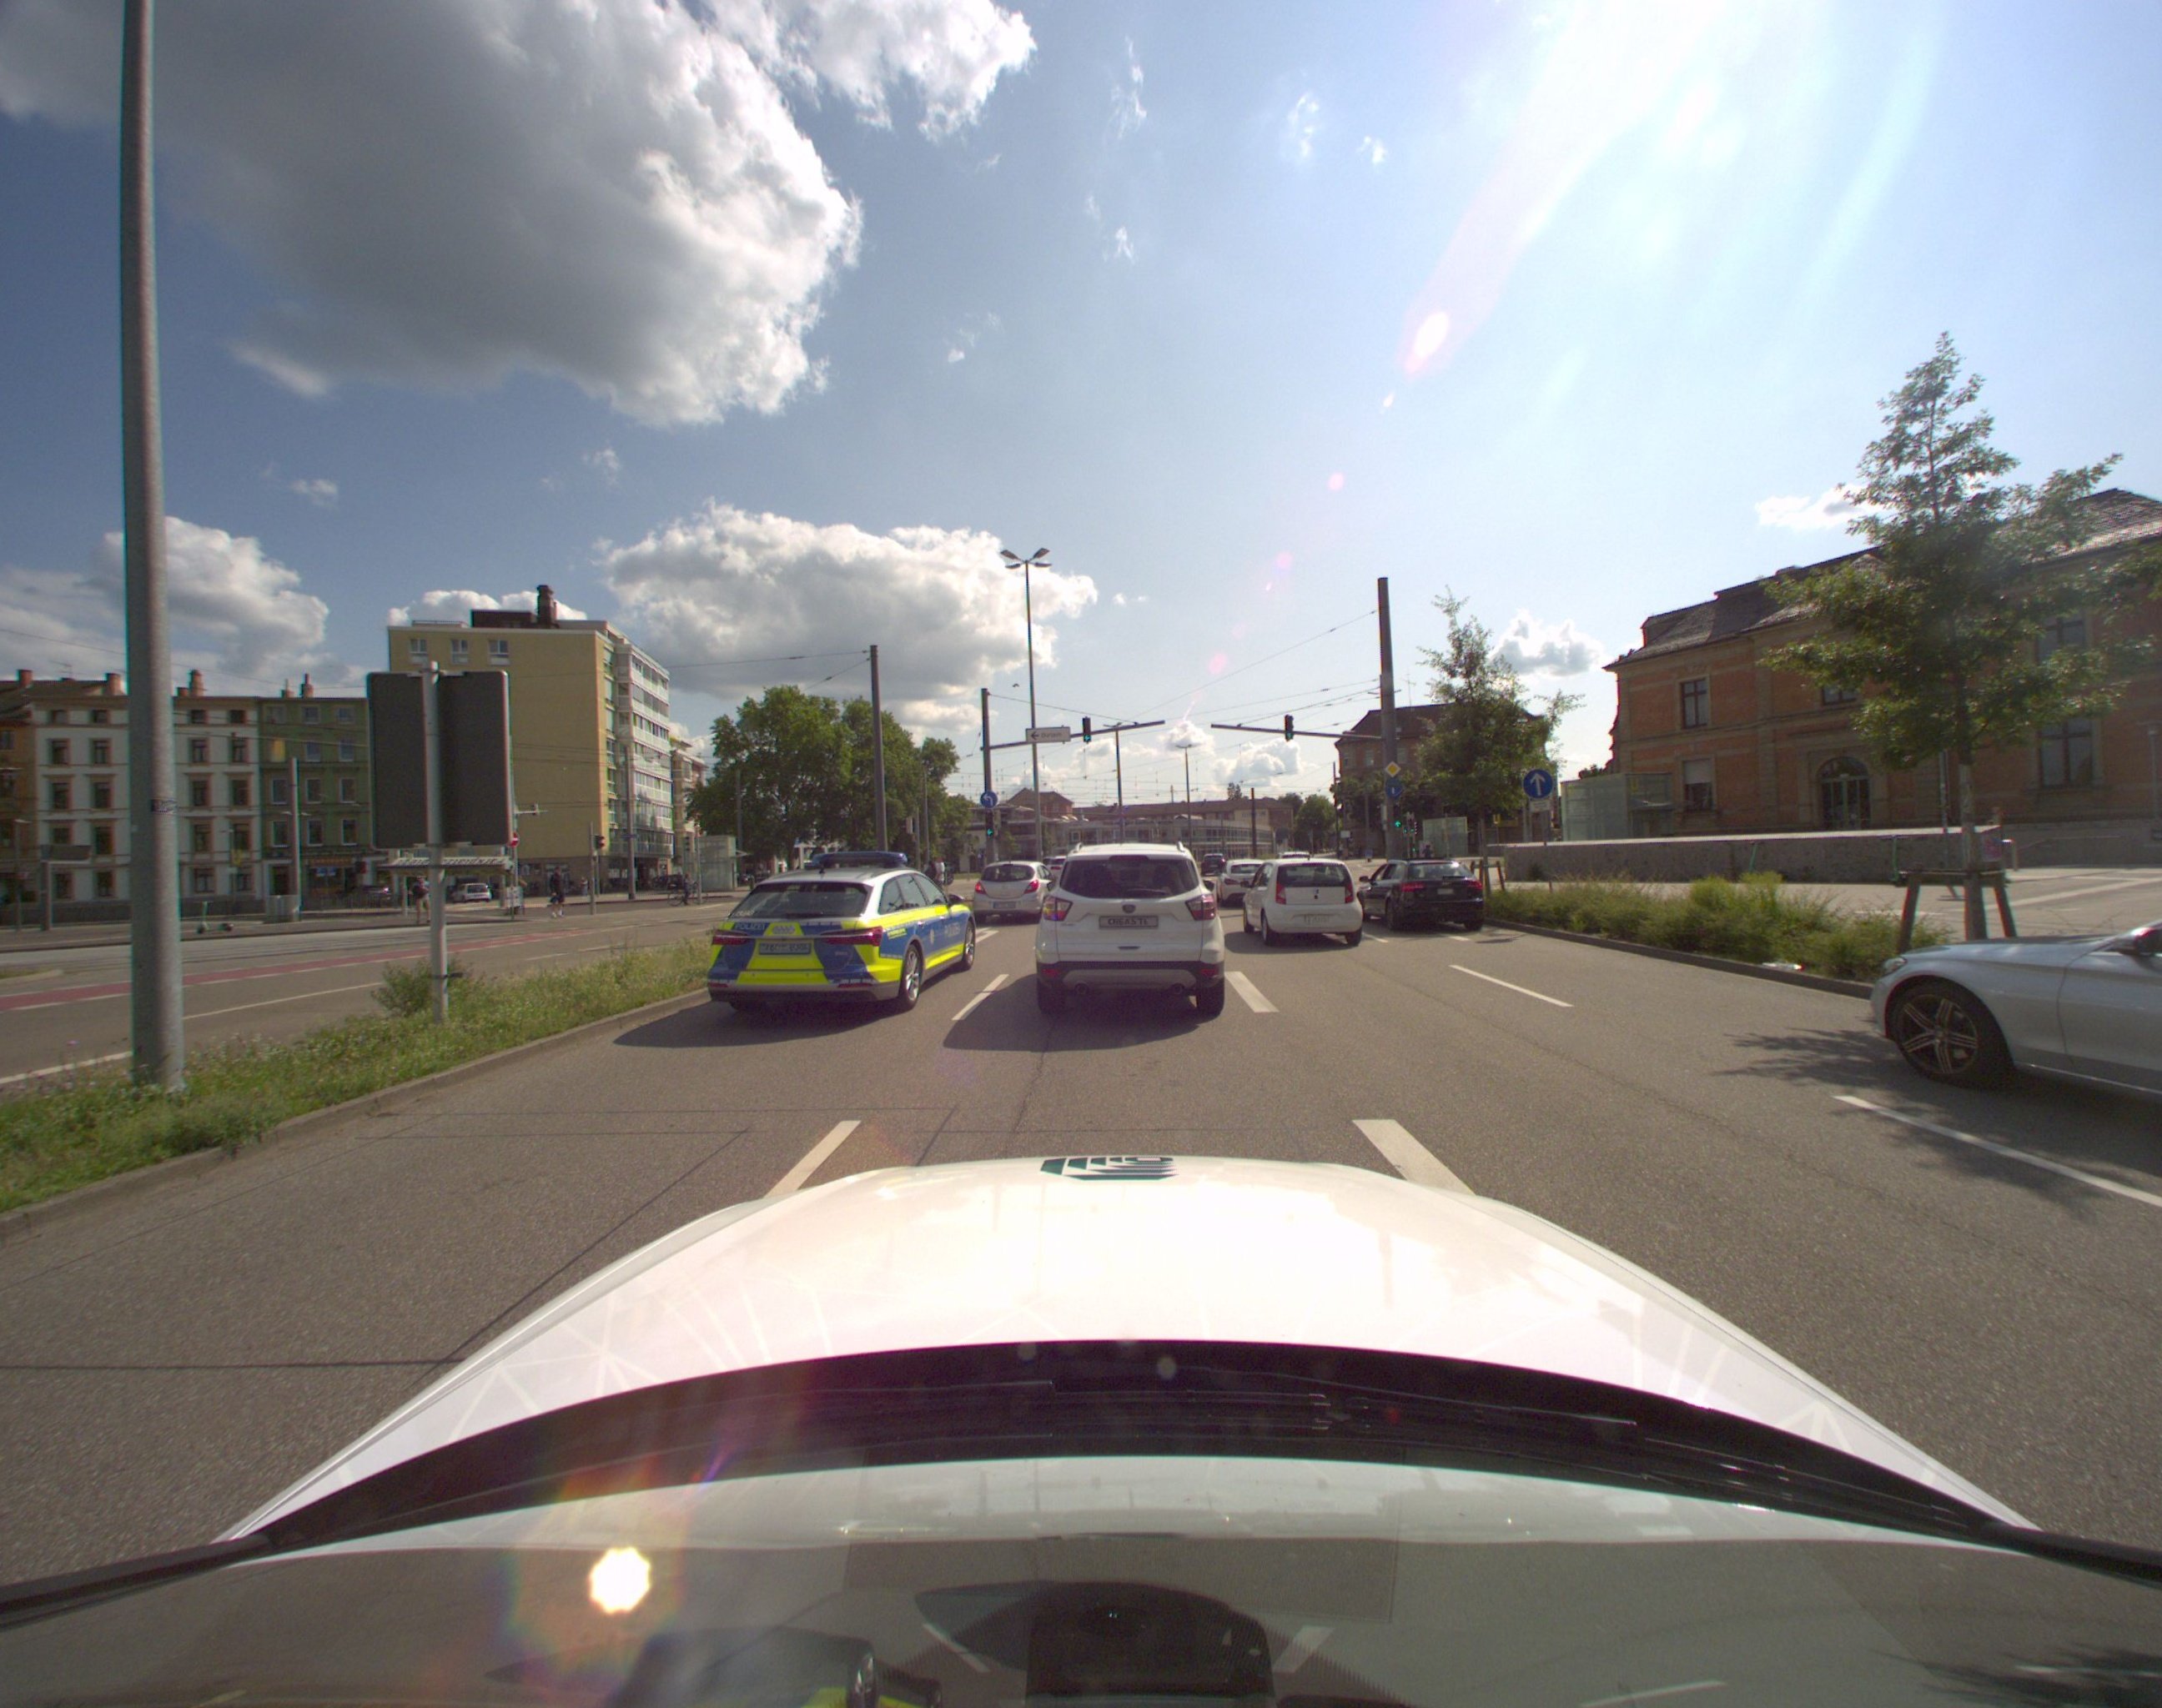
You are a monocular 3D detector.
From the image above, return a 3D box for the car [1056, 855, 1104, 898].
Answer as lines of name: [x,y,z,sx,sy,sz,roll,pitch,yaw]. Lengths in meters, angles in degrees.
car: [0.018,0.866,33.063,1.756,1.568,4.527,-2,0,1]

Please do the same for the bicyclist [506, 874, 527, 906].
bicyclist: [-32.362,2.062,46.720,0.779,1.797,0.706,0,-1,-17]

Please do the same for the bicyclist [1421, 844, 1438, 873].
bicyclist: [15.280,0.199,35.701,0.629,1.220,0.929,-4,0,23]

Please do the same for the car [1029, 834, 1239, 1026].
car: [0.647,0.685,9.128,1.818,1.664,3.961,-1,0,5]

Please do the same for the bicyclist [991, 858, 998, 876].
bicyclist: [-8.437,1.265,79.592,0.637,1.738,0.660,-1,0,-8]

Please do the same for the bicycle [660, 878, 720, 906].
bicycle: [-18.464,1.783,38.470,2.286,1.188,0.994,-3,-1,-1]

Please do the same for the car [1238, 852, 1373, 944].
car: [4.041,0.716,15.289,1.642,1.422,4.005,-3,0,4]

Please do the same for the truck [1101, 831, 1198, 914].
truck: [2.232,0.501,24.601,2.324,2.155,5.868,-1,0,10]

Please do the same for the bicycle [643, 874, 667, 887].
bicycle: [-38.230,2.381,73.120,1.808,1.147,0.792,-2,0,-17]

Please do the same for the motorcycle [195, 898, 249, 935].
motorcycle: [-30.579,2.230,28.992,1.436,1.237,0.484,-3,-1,3]

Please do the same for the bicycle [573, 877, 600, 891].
bicycle: [-42.274,2.543,69.638,1.808,1.104,0.792,-2,0,-18]

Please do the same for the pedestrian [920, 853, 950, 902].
pedestrian: [-5.121,0.823,28.672,0.844,1.648,0.693,-2,-1,1]

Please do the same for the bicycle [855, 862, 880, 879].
bicycle: [-19.666,1.507,74.963,2.171,1.414,0.808,-1,0,-14]

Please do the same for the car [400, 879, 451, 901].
car: [-47.946,2.638,59.533,3.849,1.497,1.912,-3,-2,35]

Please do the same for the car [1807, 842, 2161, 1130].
car: [6.395,0.646,3.763,1.923,1.455,4.760,-1,-1,2]

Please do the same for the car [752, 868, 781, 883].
car: [-32.343,2.247,83.800,1.905,1.413,3.986,-3,-2,-10]

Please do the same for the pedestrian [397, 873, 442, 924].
pedestrian: [-24.139,1.616,29.731,0.761,1.797,1.029,0,-1,5]

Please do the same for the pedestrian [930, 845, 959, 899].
pedestrian: [-4.917,0.643,29.454,0.844,1.917,0.693,-2,-1,1]

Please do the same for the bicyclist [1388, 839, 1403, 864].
bicyclist: [19.201,-0.158,49.706,0.605,1.451,0.775,-2,-1,3]

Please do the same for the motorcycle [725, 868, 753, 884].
motorcycle: [-30.334,1.949,72.298,2.193,1.238,0.910,-2,1,19]

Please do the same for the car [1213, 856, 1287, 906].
car: [5.226,0.802,25.562,1.841,1.419,3.684,-1,0,5]

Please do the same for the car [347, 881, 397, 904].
car: [-51.367,2.769,58.982,3.849,1.497,1.912,-3,-2,35]

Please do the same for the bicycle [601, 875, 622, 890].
bicycle: [-41.194,2.460,71.505,0.792,1.258,1.808,-2,0,-2]

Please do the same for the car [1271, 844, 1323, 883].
car: [9.938,0.440,37.737,1.826,1.652,4.009,-1,-1,8]

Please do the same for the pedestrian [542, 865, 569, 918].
pedestrian: [-19.043,1.346,29.509,0.770,1.903,0.819,0,-1,-30]

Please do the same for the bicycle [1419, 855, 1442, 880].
bicycle: [15.272,0.590,35.563,0.839,0.970,1.972,-5,-1,24]

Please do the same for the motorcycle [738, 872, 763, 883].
motorcycle: [-31.279,2.197,77.167,0.801,0.917,2.057,-2,1,39]

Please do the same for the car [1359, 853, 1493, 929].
car: [7.112,0.693,17.221,1.688,1.372,4.144,-2,0,10]

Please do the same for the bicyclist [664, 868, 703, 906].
bicyclist: [-18.751,1.551,38.475,1.293,1.731,0.994,-3,-1,-1]

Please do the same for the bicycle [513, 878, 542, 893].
bicycle: [-46.687,2.650,68.740,1.808,1.104,0.792,-2,0,-18]

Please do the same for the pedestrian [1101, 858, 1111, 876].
pedestrian: [2.377,1.215,77.000,0.918,1.744,0.591,-1,-1,10]

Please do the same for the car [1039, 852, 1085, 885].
car: [-1.040,0.725,42.220,2.037,1.578,4.529,-1,0,-6]

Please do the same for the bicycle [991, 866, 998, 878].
bicycle: [-8.446,1.754,79.703,0.637,1.125,1.780,-2,0,-7]

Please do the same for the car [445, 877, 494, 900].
car: [-45.856,2.593,61.094,3.849,1.497,1.912,-3,-2,37]

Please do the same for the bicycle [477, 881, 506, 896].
bicycle: [-49.262,2.873,68.065,1.808,1.104,0.792,-2,0,-18]

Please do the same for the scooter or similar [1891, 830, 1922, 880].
scooter or similar: [19.745,0.015,19.481,1.326,1.104,0.460,-3,0,-44]

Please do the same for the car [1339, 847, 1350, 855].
car: [54.031,-0.622,167.108,1.820,1.652,4.021,-2,-1,22]

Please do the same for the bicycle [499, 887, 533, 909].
bicycle: [-32.320,2.508,46.623,0.889,1.138,2.344,0,-1,-17]

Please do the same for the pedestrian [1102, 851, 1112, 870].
pedestrian: [2.419,0.607,75.928,0.918,1.744,0.591,0,-1,9]

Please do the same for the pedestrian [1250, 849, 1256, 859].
pedestrian: [31.306,-0.021,148.301,0.866,1.922,0.882,-1,-1,35]

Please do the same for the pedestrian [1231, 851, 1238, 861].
pedestrian: [26.796,0.312,141.802,0.866,1.737,0.882,-1,-1,37]

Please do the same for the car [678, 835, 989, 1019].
car: [-2.460,0.654,9.506,1.871,1.568,4.620,-2,0,4]

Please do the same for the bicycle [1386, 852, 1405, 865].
bicycle: [19.205,0.284,49.741,0.582,0.775,1.623,-2,0,4]

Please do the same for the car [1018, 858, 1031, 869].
car: [-8.433,1.455,121.776,1.814,1.534,3.913,-4,-1,-2]

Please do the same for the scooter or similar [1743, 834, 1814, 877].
scooter or similar: [19.452,0.046,22.736,0.466,1.118,1.438,-3,0,-18]

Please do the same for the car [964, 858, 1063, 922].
car: [-1.607,0.843,20.823,1.839,1.474,4.006,-1,0,5]

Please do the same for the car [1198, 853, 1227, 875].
car: [8.775,0.647,54.485,1.839,1.419,3.688,-1,-1,9]

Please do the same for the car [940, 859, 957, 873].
car: [-20.097,1.816,123.720,1.989,2.014,4.227,-4,-1,-2]

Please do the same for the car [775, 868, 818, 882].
car: [-30.297,2.228,86.892,3.974,1.327,1.633,-3,-2,-1]

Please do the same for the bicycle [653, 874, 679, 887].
bicycle: [-37.916,2.409,74.416,1.948,1.147,0.792,-2,0,-17]
